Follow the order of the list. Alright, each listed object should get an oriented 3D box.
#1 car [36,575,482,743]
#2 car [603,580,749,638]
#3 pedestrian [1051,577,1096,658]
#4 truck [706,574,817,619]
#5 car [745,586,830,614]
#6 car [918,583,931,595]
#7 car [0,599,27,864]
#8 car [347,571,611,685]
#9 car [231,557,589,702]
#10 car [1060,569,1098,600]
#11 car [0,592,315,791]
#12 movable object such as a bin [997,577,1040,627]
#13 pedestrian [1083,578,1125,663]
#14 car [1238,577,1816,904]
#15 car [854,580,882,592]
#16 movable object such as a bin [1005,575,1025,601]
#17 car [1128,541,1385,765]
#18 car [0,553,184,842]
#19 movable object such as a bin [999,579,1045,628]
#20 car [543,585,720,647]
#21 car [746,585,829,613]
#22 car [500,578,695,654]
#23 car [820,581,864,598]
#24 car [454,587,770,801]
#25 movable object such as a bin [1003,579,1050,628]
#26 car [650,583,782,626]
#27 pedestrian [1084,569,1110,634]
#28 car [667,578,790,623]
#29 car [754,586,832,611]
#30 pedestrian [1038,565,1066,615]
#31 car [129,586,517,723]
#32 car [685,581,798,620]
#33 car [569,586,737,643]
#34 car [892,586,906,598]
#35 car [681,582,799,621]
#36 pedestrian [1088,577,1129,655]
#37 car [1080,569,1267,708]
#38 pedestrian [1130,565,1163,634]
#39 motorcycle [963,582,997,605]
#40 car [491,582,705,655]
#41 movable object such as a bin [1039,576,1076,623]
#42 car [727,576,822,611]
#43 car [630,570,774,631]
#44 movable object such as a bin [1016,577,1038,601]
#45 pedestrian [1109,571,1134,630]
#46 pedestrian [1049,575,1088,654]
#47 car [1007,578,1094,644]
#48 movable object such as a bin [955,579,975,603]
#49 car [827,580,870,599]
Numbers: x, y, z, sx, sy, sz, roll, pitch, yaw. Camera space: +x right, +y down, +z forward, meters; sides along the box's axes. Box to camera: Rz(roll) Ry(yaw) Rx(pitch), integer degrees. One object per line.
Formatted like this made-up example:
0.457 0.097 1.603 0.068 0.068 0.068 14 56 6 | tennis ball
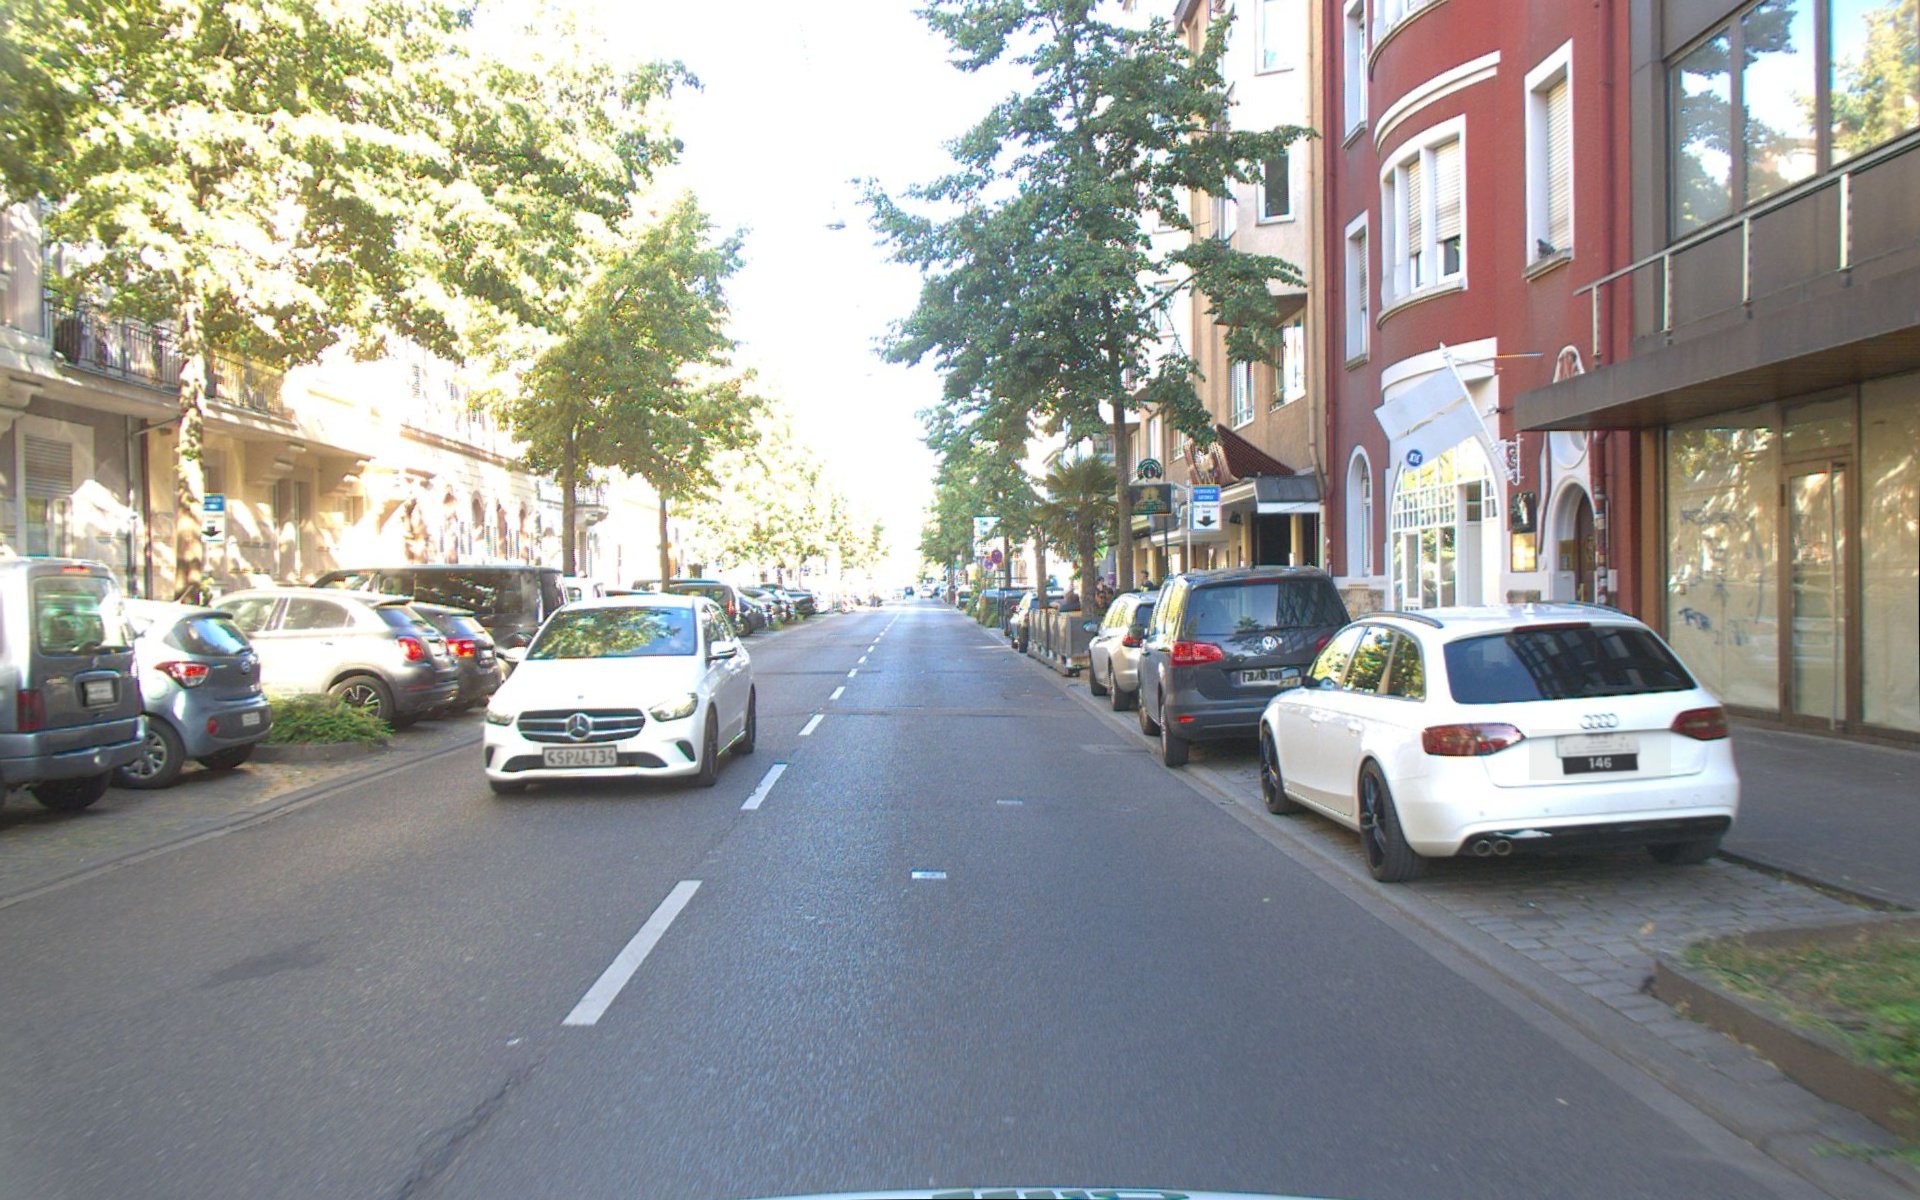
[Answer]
-7.851 0.629 18.862 4.253 1.764 1.915 -1 0 -4 | car
-9.183 0.290 53.676 4.374 1.803 1.916 -1 0 0 | car
2.227 0.333 32.389 0.733 1.563 0.808 -1 0 13 | pedestrian
-9.365 -0.172 78.360 4.982 1.972 1.999 -2 1 -2 | truck
-9.530 -0.026 91.654 4.588 1.490 1.806 -1 0 -5 | car
-4.774 -1.458 220.767 1.756 1.436 3.999 -1 1 -2 | car
-7.752 0.808 8.937 4.256 1.571 1.962 -1 0 -7 | car
-8.344 0.458 29.065 4.262 1.866 1.911 -1 0 -12 | car
-7.832 0.398 23.862 4.479 1.960 1.930 -1 0 1 | car
6.951 -0.914 96.871 1.862 1.677 4.293 -2 1 0 | car
-8.084 0.744 14.267 4.249 1.571 1.917 -1 0 3 | car
1.871 0.052 53.319 1.303 1.569 1.146 -1 1 -1 | movable object such as a bin
2.724 0.374 31.286 0.678 1.563 0.776 -2 0 -1 | pedestrian
3.094 0.635 10.243 1.785 1.427 4.841 -4 1 -1 | car
-12.769 -1.942 229.806 3.907 1.526 1.999 -1 1 -3 | car
3.622 -0.768 109.011 1.181 1.656 1.497 -2 1 -3 | movable object such as a bin
2.796 0.419 16.664 1.784 1.808 4.932 -4 1 2 | car
-8.039 0.641 11.607 4.250 1.856 1.930 -1 0 0 | car
1.947 0.100 52.157 1.370 1.479 1.146 -2 1 -1 | movable object such as a bin
-8.734 0.415 44.230 4.376 1.568 1.916 -1 0 -2 | car
-9.817 -0.062 94.383 4.588 1.490 1.806 -1 0 -5 | car
-8.653 0.371 39.767 4.251 1.739 1.916 -1 0 -2 | car
-10.631 -0.917 149.211 3.907 1.414 1.999 -1 1 -3 | car
-2.845 0.683 14.529 1.871 1.571 4.353 -1 0 -1 | car
2.042 0.100 50.986 1.370 1.479 1.146 -2 1 -1 | movable object such as a bin
-8.820 0.139 60.024 4.552 1.484 1.683 -1 0 -2 | car
3.712 0.046 44.848 0.604 1.725 0.762 -2 0 -2 | pedestrian
-9.129 0.012 65.390 4.584 1.742 1.808 -1 0 0 | car
-10.013 -0.114 99.459 4.588 1.437 1.806 -1 0 -5 | car
3.711 -0.403 66.617 0.906 1.969 0.761 -1 1 24 | pedestrian
-8.078 0.659 21.310 4.253 1.623 1.915 -1 0 -4 | car
-9.352 0.028 70.917 4.584 1.599 1.808 -1 0 0 | car
-8.702 0.403 47.153 4.373 1.568 1.917 -1 0 2 | car
-8.086 -1.124 220.299 1.767 1.460 4.407 -4 1 -2 | car
-9.036 0.059 68.120 4.584 1.546 1.808 -1 0 0 | car
3.032 0.324 33.684 0.696 1.563 0.770 -1 0 13 | pedestrian
2.836 0.452 23.031 1.785 1.624 4.841 -4 1 -1 | car
4.709 -0.008 41.668 0.498 1.725 0.622 -2 0 -38 | pedestrian
1.215 -0.423 101.174 1.944 1.353 0.908 -2 1 -14 | motorcycle
-8.098 0.397 37.295 4.374 1.568 1.917 -1 0 0 | car
3.151 -0.029 53.359 1.055 1.456 1.295 -1 1 -1 | movable object such as a bin
-9.348 -0.322 83.759 4.584 1.723 1.808 -1 0 0 | car
-8.777 0.006 56.599 4.584 1.984 1.916 -1 0 0 | car
4.348 -0.720 107.664 1.245 1.557 1.176 -2 0 -3 | movable object such as a bin
4.629 0.017 47.430 0.604 1.670 0.762 -1 0 1 | pedestrian
2.199 0.289 33.688 0.637 1.563 0.979 -2 0 -3 | pedestrian
2.258 0.239 42.441 1.785 1.497 4.910 -4 1 -1 | car
0.361 -0.610 111.487 1.118 1.589 1.460 -2 1 7 | movable object such as a bin
-10.903 -1.070 162.118 3.903 1.724 2.001 -1 1 3 | car
